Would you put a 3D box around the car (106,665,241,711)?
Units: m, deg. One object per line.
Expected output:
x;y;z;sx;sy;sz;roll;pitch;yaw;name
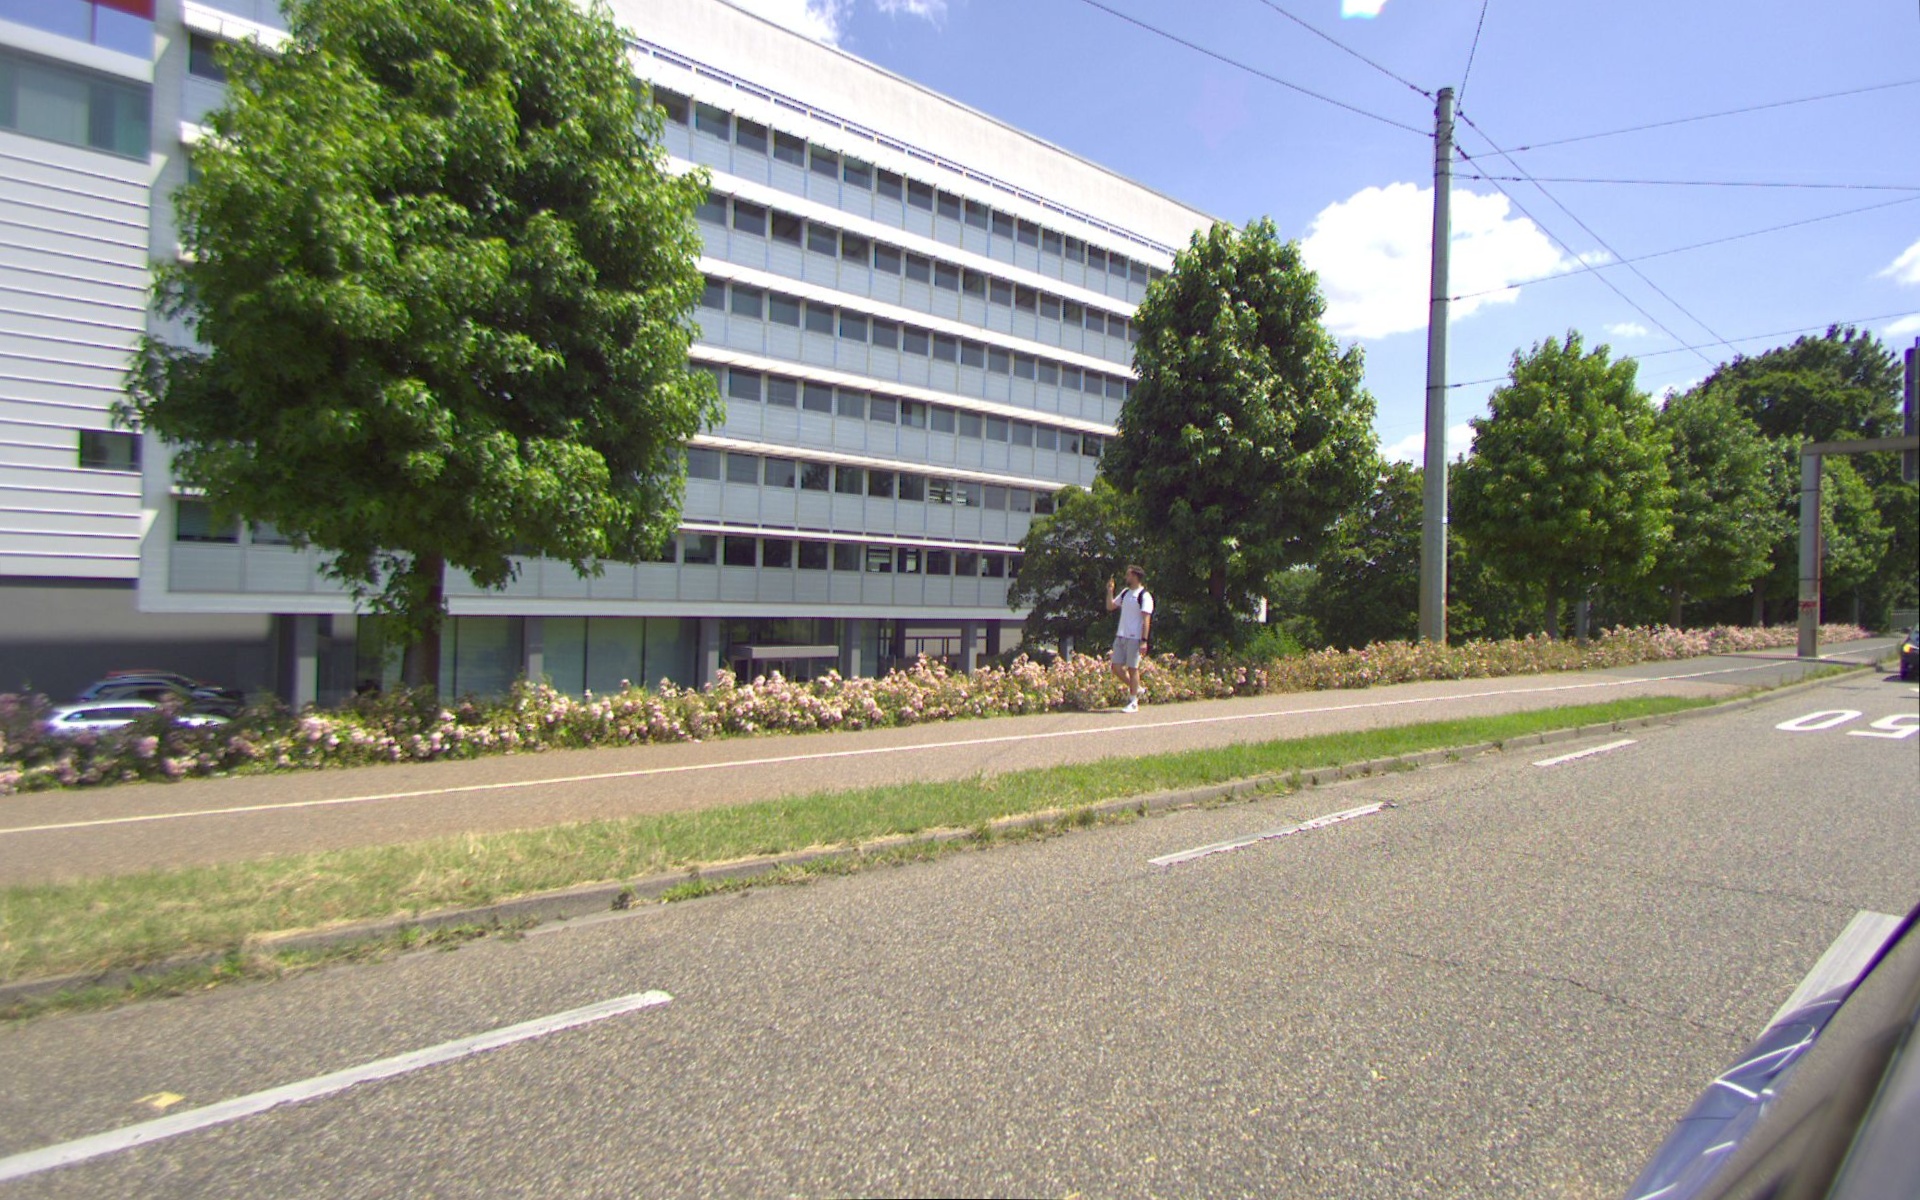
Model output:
-29.636;3.267;38.184;3.931;1.403;1.646;0;0;-42;car

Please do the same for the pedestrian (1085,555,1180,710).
2.182;0.395;12.805;0.914;1.872;0.758;0;-1;-39;pedestrian

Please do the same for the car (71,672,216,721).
-28.870;3.372;35.848;3.931;1.338;1.607;0;0;-42;car

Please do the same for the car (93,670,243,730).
-27.043;3.365;34.596;3.931;1.632;1.996;0;0;-42;car

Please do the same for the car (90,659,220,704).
-31.832;3.192;40.072;3.931;1.465;1.996;0;0;-42;car

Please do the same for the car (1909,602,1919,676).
22.058;0.818;21.916;4.027;1.546;1.763;0;-1;-41;car
